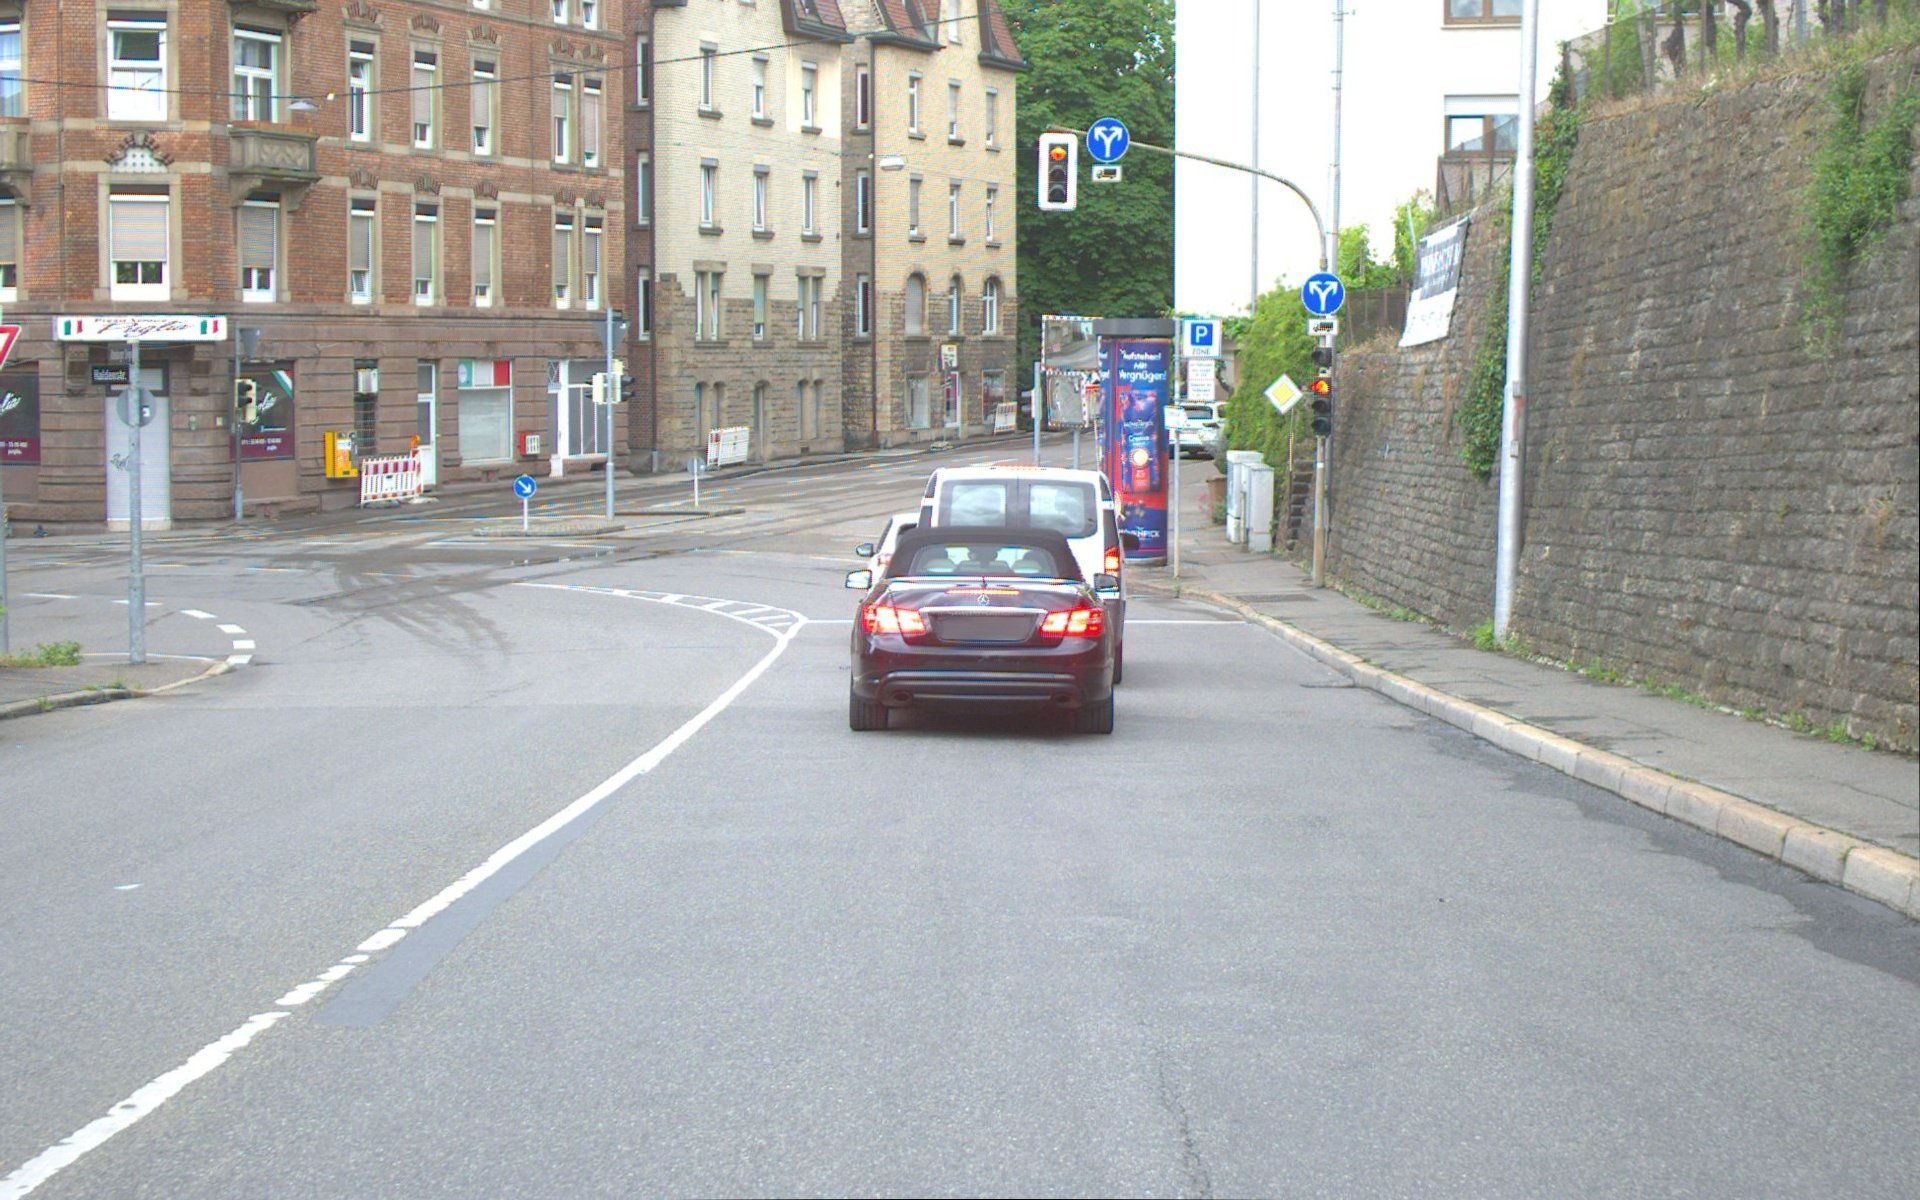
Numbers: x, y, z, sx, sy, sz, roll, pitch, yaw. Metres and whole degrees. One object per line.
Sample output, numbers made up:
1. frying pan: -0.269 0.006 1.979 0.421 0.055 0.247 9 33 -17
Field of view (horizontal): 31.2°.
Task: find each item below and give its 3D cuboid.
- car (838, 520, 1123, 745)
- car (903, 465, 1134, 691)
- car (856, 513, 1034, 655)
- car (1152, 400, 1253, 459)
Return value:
1. car: 0.118 0.164 24.264 1.816 1.425 4.000 1 1 0
2. car: 0.480 -0.242 31.018 1.909 1.877 4.000 1 2 0
3. car: -0.169 -0.219 37.972 1.841 1.436 4.000 1 2 0
4. car: 7.143 -5.036 101.001 1.843 1.696 3.996 1 3 22
